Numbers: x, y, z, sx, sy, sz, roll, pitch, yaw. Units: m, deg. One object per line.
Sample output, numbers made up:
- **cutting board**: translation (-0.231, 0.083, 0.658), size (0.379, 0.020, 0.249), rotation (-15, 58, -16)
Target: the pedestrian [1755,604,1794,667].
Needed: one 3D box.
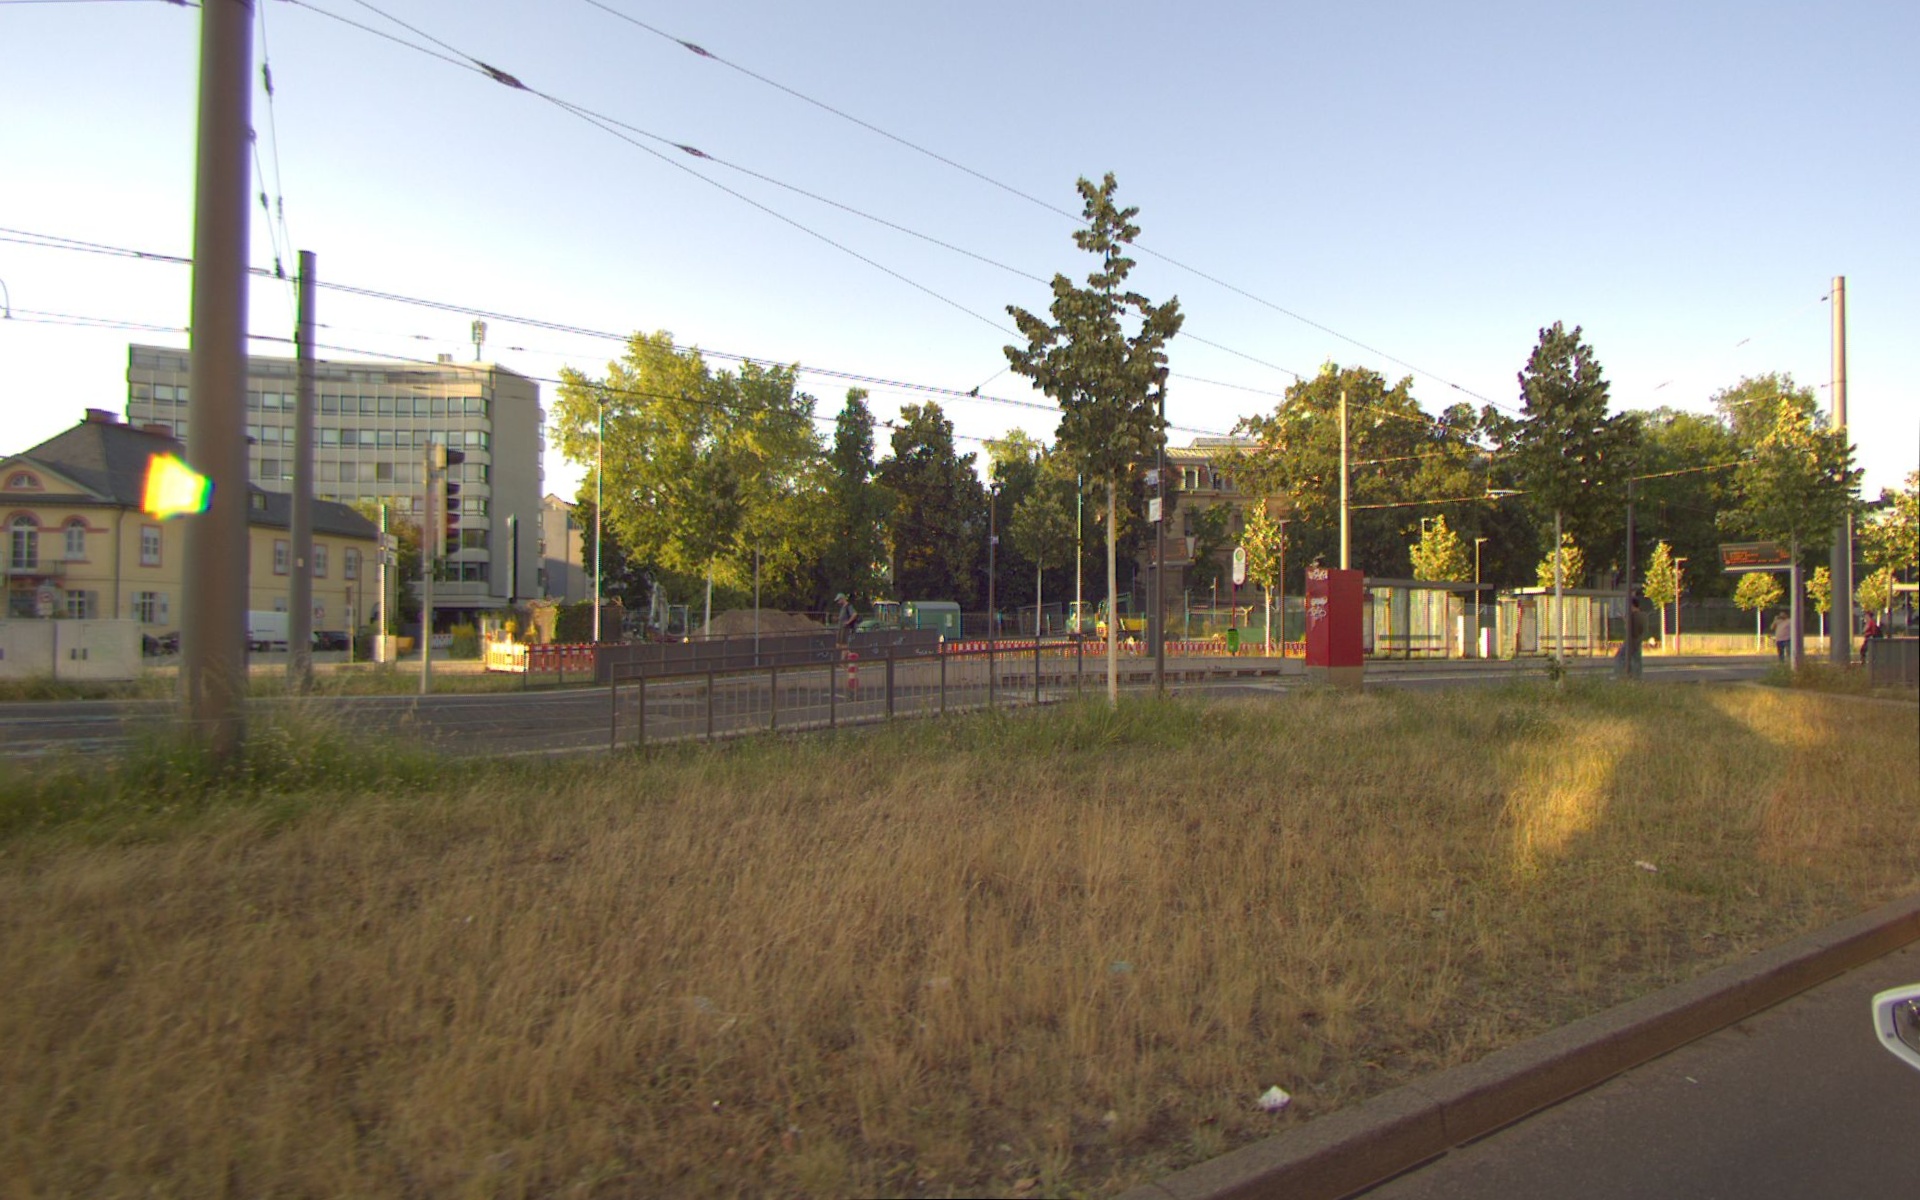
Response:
- **pedestrian**: translation (23.105, 1.004, 28.480), size (0.631, 1.768, 0.719), rotation (0, -2, -40)

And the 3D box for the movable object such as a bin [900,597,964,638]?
- **movable object such as a bin**: translation (-1.960, 1.238, 69.694), size (3.953, 2.742, 1.984), rotation (2, -2, -30)

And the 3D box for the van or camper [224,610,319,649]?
- **van or camper**: translation (-43.752, 1.874, 63.966), size (1.959, 2.332, 5.120), rotation (0, -2, 10)

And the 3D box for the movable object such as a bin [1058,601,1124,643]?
- **movable object such as a bin**: translation (8.714, 1.493, 66.743), size (3.953, 2.742, 1.984), rotation (2, -2, -30)

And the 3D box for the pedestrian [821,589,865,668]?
- **pedestrian**: translation (-2.761, 0.681, 23.765), size (0.807, 1.822, 0.691), rotation (1, -1, -30)

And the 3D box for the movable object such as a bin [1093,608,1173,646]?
- **movable object such as a bin**: translation (10.956, 1.729, 63.560), size (4.881, 2.276, 1.984), rotation (2, -2, -30)

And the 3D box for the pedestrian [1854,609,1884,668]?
- **pedestrian**: translation (27.166, 1.154, 30.021), size (0.632, 1.751, 0.628), rotation (2, -2, -44)

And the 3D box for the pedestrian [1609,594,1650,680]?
- **pedestrian**: translation (14.329, 0.783, 21.500), size (0.617, 1.810, 0.469), rotation (1, -1, -25)

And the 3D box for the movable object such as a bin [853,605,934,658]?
- **movable object such as a bin**: translation (-3.597, 1.709, 53.933), size (3.938, 2.742, 1.992), rotation (1, -1, -19)
